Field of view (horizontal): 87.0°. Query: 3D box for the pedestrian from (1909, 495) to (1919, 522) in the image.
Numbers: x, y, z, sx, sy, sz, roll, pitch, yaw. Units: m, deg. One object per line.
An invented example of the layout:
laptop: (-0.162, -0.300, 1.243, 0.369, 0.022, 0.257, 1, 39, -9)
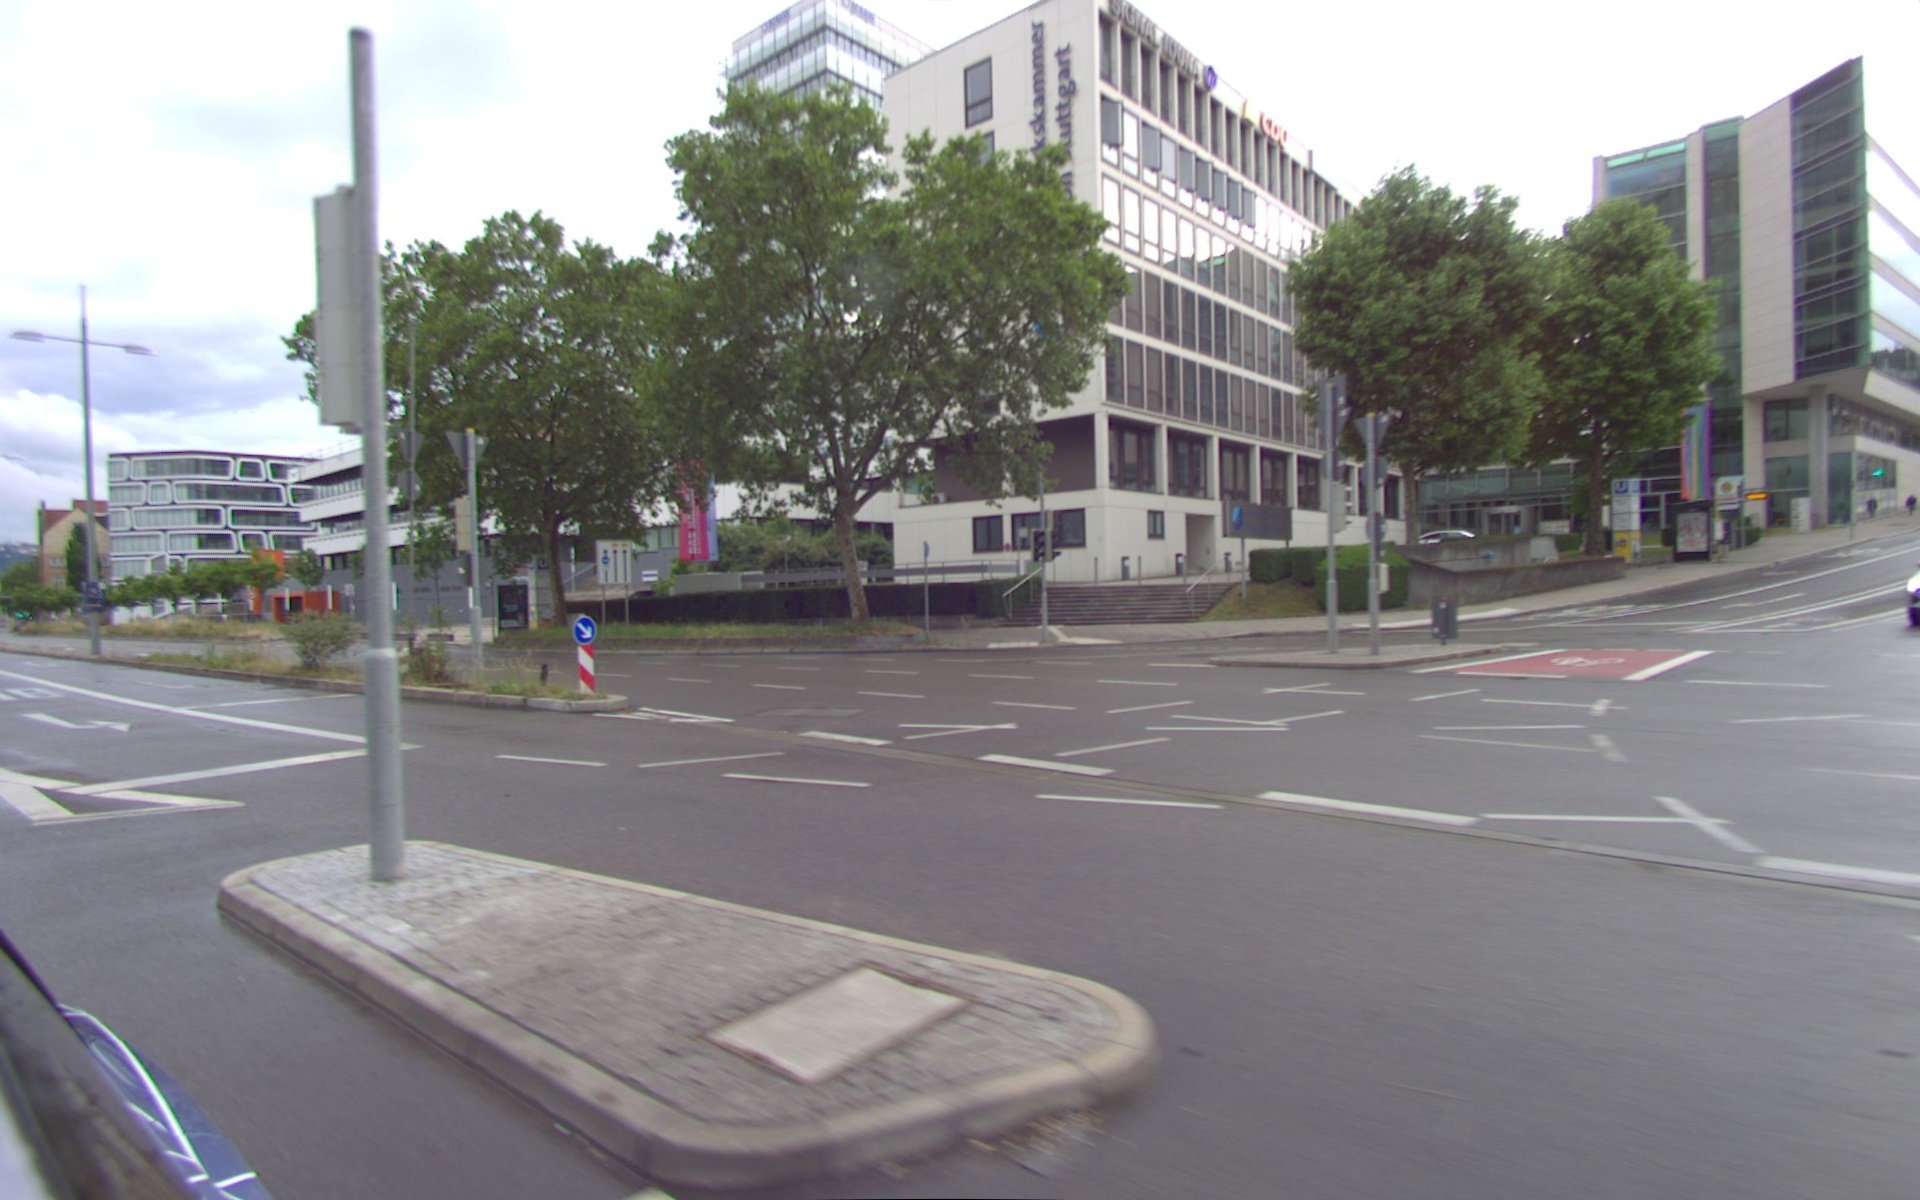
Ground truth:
pedestrian: (59.021, -5.651, 62.435, 0.677, 1.623, 0.597, -1, 0, -37)

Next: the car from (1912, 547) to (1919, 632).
car: (20.840, -0.228, 20.038, 4.440, 1.643, 1.900, -1, 0, -33)

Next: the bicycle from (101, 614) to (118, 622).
bicycle: (-97.799, 2.088, 116.345, 1.638, 0.864, 0.608, 0, 0, 8)

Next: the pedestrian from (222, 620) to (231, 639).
pedestrian: (-72.179, 2.925, 99.615, 0.628, 1.821, 0.623, 0, 0, 42)

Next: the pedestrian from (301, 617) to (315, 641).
pedestrian: (-50.105, 2.230, 77.788, 0.628, 1.821, 0.776, 0, 0, 41)

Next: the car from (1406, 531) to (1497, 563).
car: (24.560, -2.627, 50.640, 3.880, 1.420, 1.510, 0, 0, 41)
